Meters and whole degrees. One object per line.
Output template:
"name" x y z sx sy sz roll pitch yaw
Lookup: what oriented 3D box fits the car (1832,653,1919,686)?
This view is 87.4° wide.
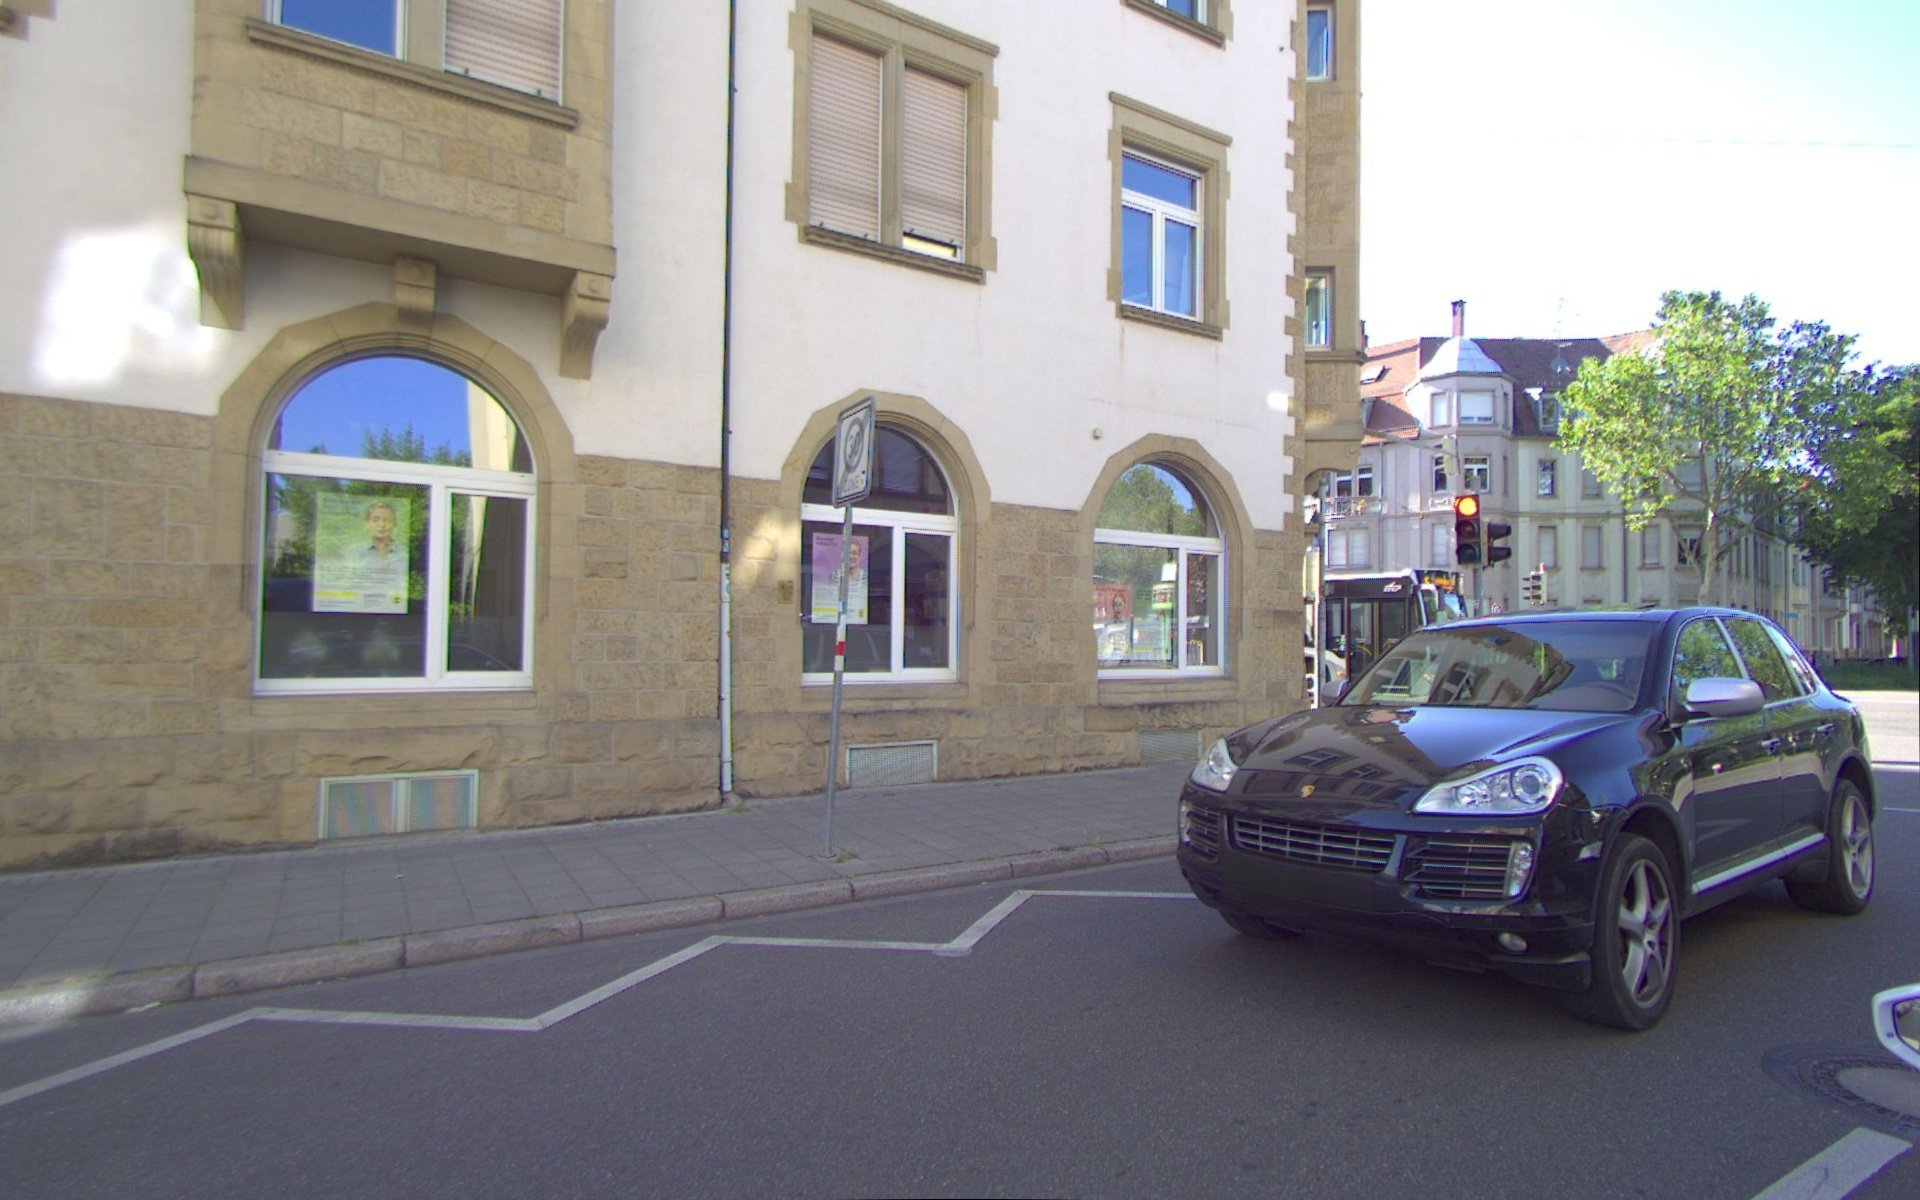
"car" 45.448 3.405 49.507 1.647 1.476 3.595 2 -2 -44

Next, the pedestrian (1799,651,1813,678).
"pedestrian" 46.737 3.544 55.485 0.483 1.461 0.701 2 0 45

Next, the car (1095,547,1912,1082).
"car" 3.157 0.861 5.480 4.664 1.715 2.059 3 -6 -36

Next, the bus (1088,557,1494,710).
"bus" 7.705 0.800 24.996 2.726 3.137 9.533 2 -2 -42
